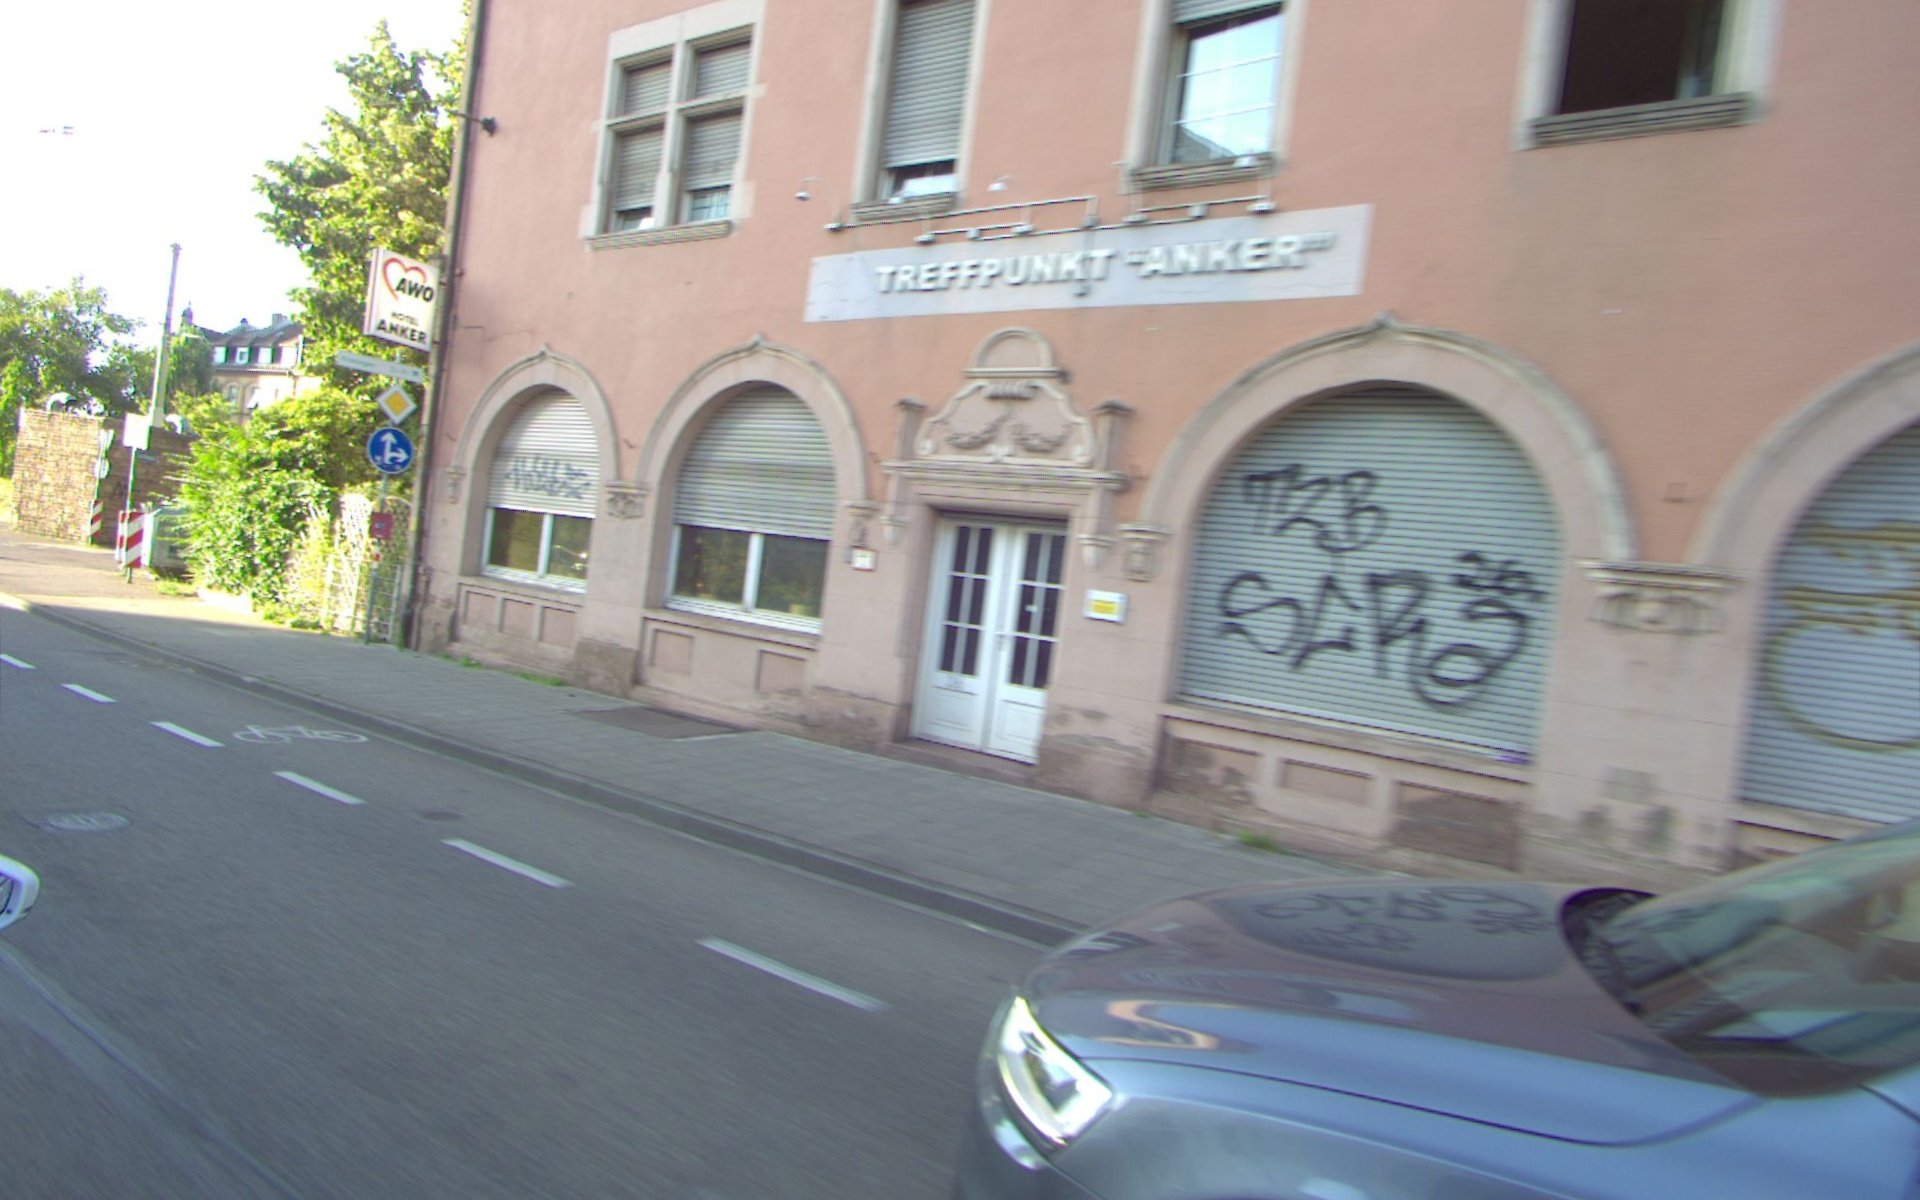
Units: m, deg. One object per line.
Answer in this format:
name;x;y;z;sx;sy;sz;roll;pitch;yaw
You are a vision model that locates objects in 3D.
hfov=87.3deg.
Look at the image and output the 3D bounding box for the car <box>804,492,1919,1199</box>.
car;1.937;0.940;1.320;3.999;1.606;1.769;8;0;31
